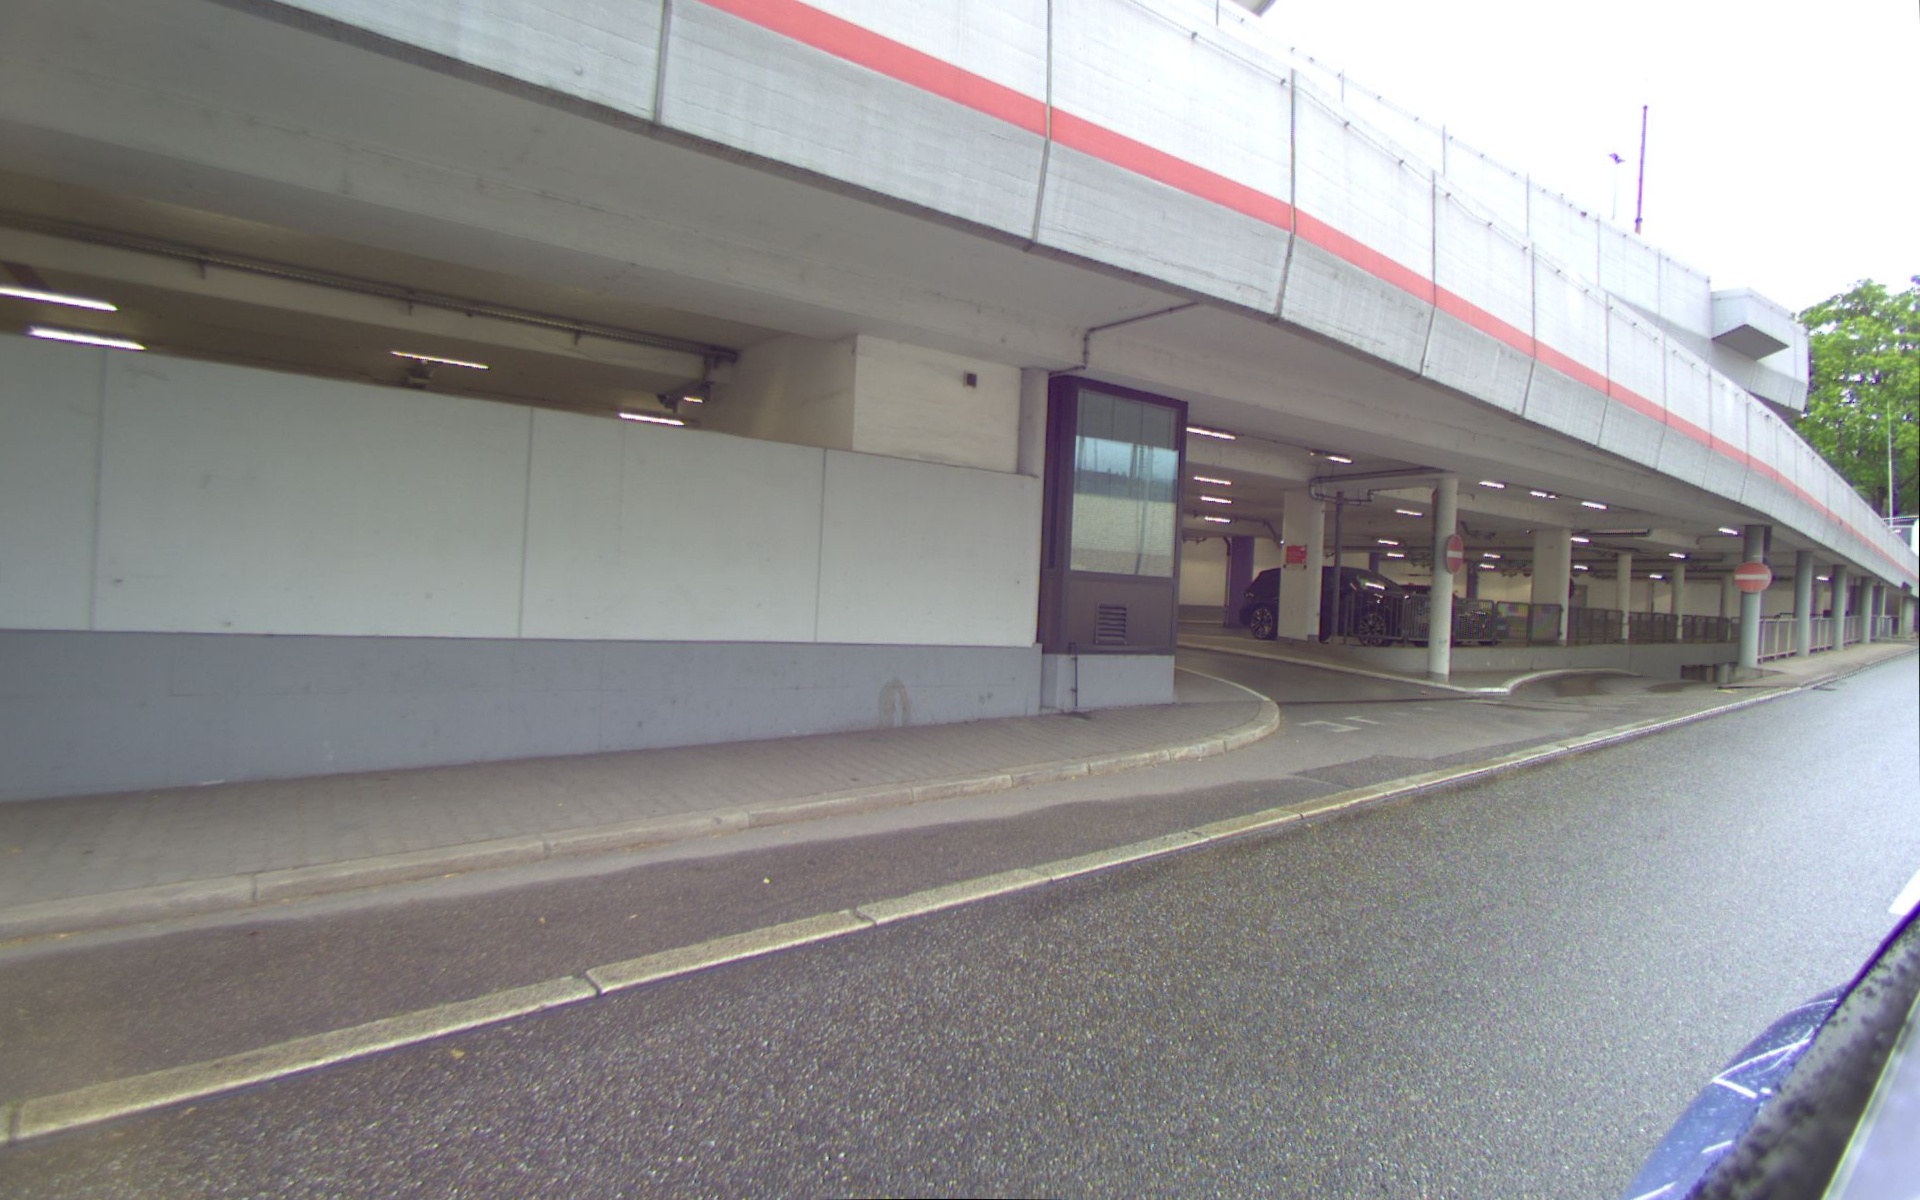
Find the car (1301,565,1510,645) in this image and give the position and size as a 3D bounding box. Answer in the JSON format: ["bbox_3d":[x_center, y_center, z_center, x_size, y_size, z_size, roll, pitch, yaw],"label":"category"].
[{"bbox_3d":[10.756,0.091,24.753,1.960,1.682,4.261,5,-2,-31],"label":"car"}]

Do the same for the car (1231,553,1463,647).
[{"bbox_3d":[8.157,-0.017,21.712,1.960,1.682,4.261,5,-2,-31],"label":"car"}]
